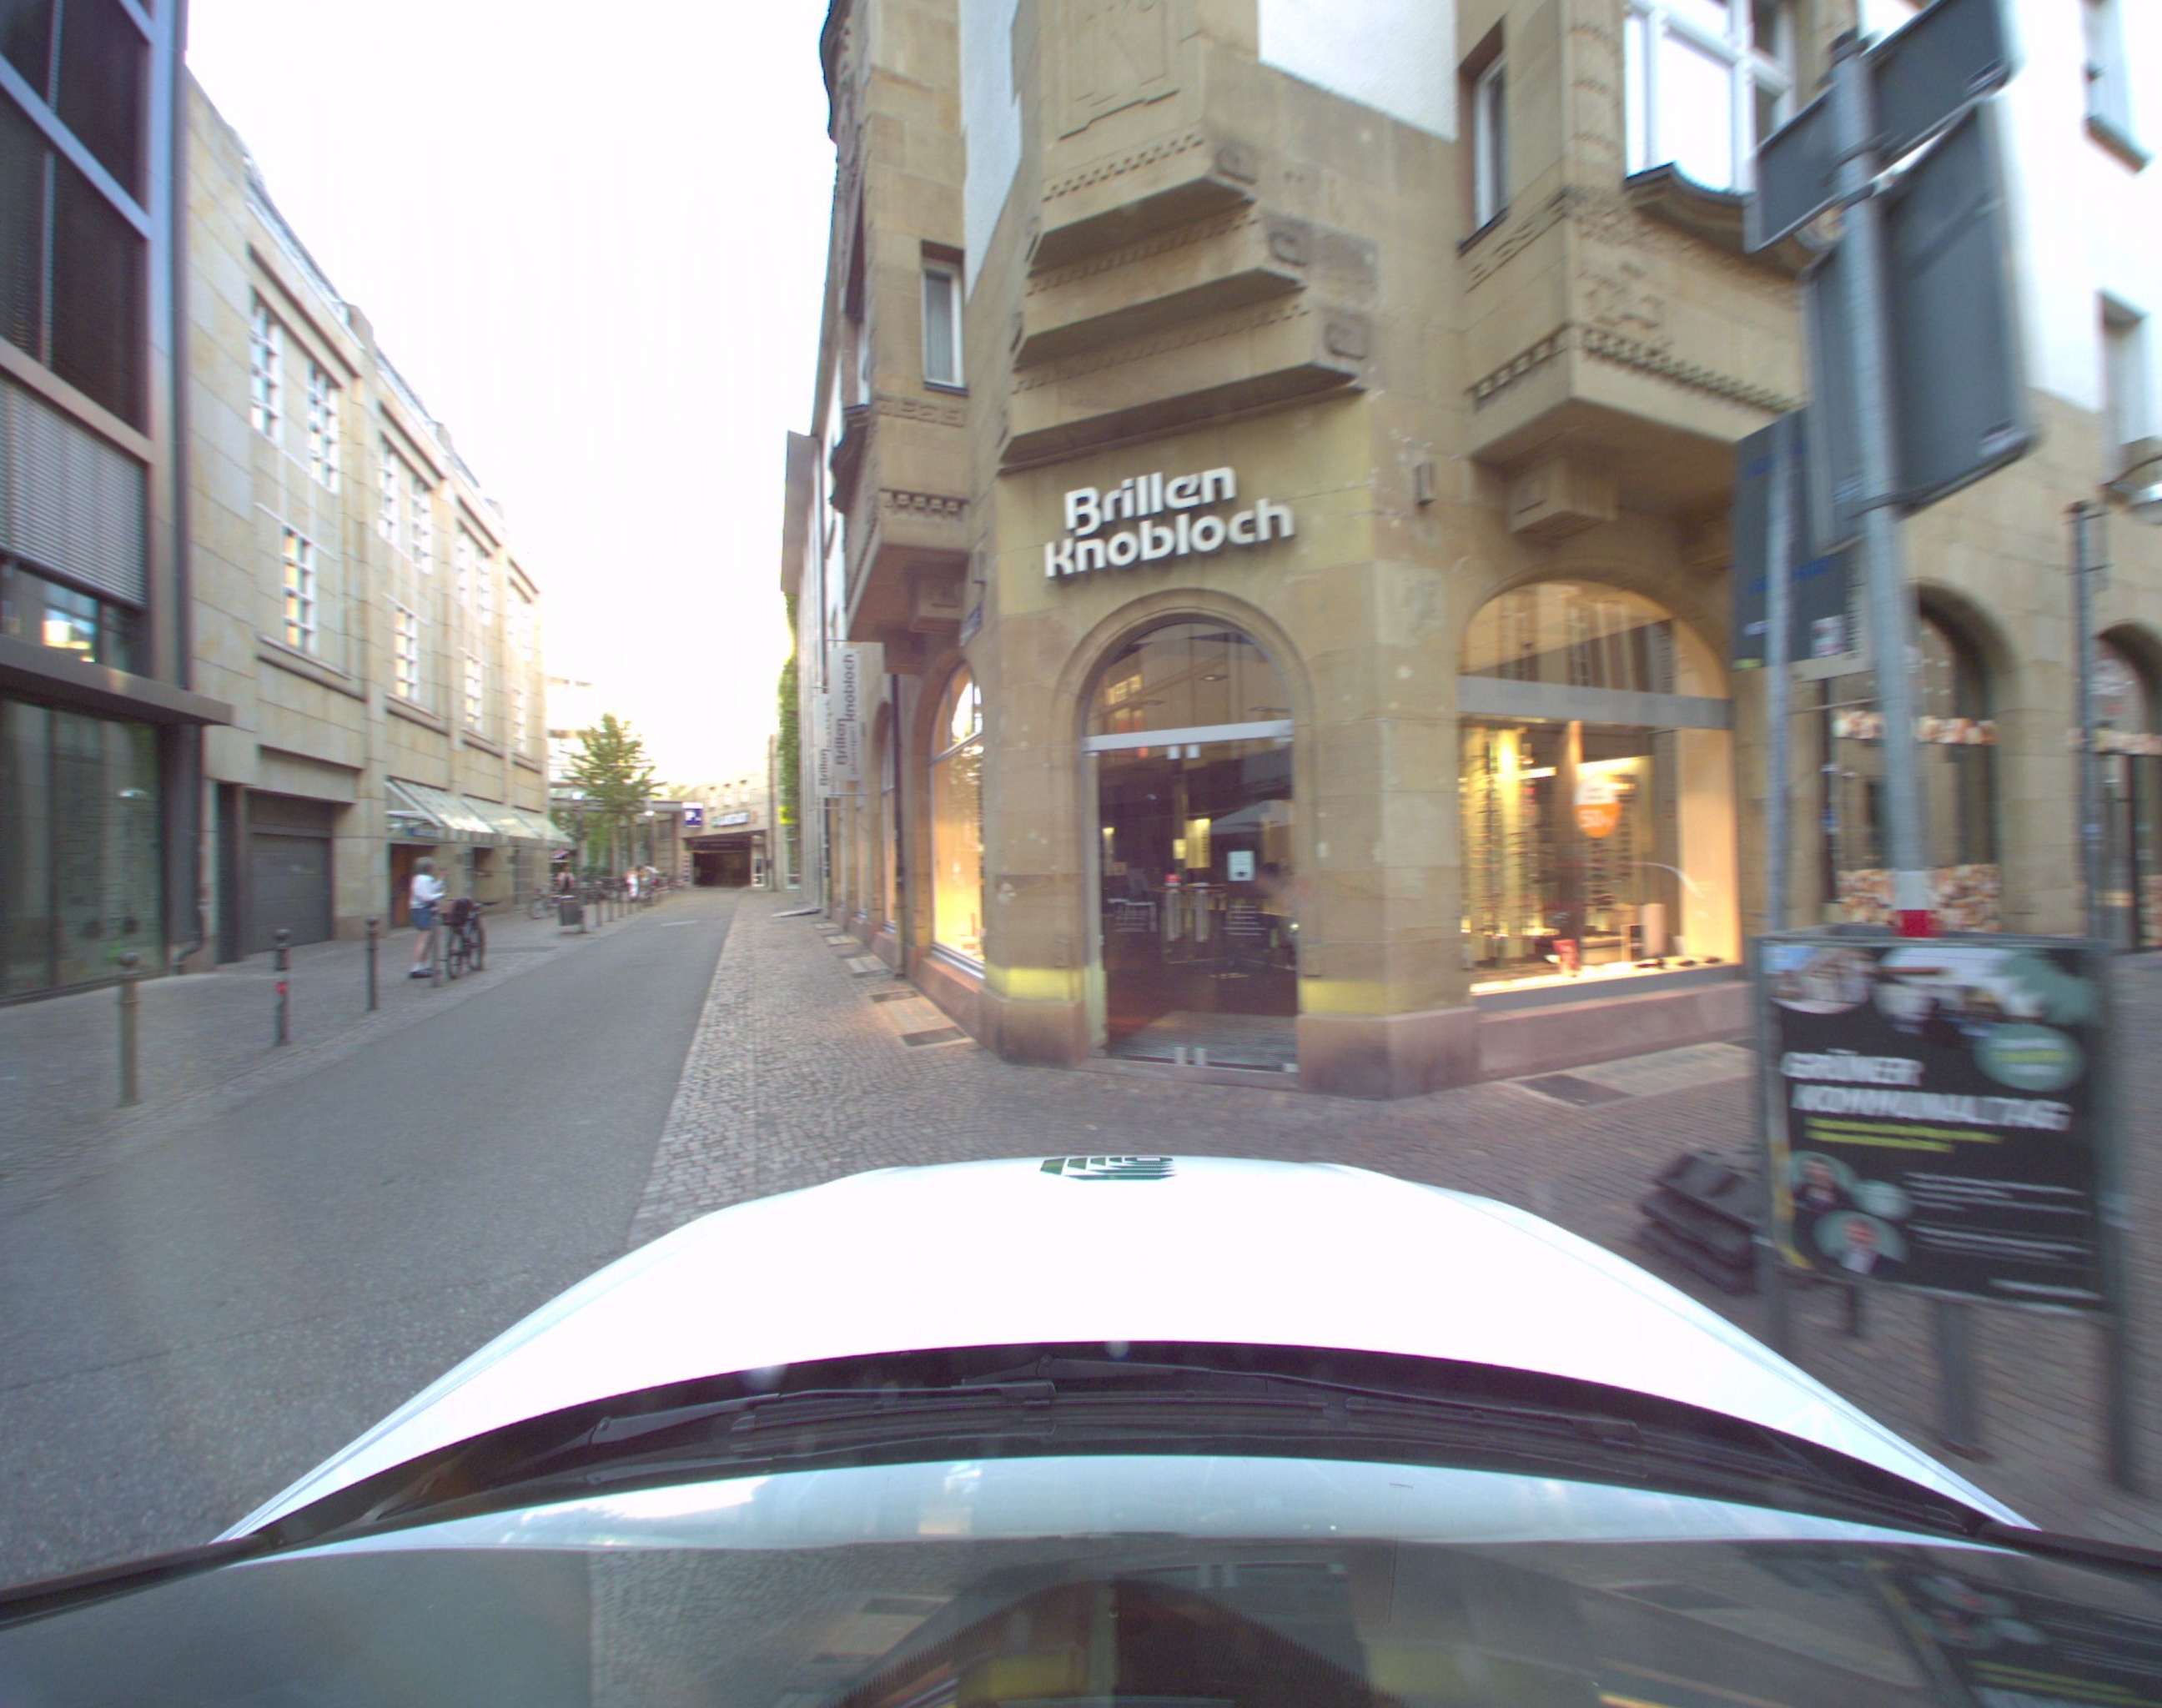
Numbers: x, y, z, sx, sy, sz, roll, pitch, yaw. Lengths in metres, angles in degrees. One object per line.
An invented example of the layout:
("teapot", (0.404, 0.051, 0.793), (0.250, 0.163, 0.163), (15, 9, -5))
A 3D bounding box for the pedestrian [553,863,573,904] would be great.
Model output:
("pedestrian", (-22.430, 1.275, 35.286), (0.661, 1.764, 0.610), (-1, 0, -36))

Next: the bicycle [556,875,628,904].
("bicycle", (-22.970, 1.657, 38.289), (2.781, 1.200, 0.725), (-2, 0, -41))

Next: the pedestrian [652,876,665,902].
("pedestrian", (-19.235, 1.606, 37.113), (0.468, 1.168, 0.518), (-1, -1, -21))

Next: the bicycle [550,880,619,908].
("bicycle", (-24.040, 1.903, 39.471), (2.781, 1.200, 0.725), (-2, 0, -41))

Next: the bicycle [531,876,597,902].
("bicycle", (-26.341, 1.764, 41.532), (2.781, 1.200, 0.725), (-2, 0, -41))

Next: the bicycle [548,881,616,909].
("bicycle", (-24.598, 2.017, 40.169), (2.781, 1.200, 0.725), (-2, 0, -41))

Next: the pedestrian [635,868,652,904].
("pedestrian", (-20.030, 1.463, 37.266), (0.587, 1.604, 0.623), (-1, -1, -21))

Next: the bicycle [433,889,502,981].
("bicycle", (-9.296, 1.181, 12.387), (0.413, 1.232, 1.812), (-1, 0, -24))

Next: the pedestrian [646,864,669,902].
("pedestrian", (-20.070, 1.377, 38.599), (0.867, 1.757, 0.793), (-1, -1, -21))

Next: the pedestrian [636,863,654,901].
("pedestrian", (-20.241, 1.284, 37.806), (0.632, 1.757, 0.793), (-1, -1, -21))

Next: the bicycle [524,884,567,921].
("bicycle", (-17.507, 1.554, 26.653), (0.481, 1.081, 2.230), (-2, 0, -15))

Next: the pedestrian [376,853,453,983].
("pedestrian", (-9.693, 0.895, 11.873), (0.611, 1.791, 0.903), (-2, 0, -23))

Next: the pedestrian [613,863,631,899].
("pedestrian", (-20.958, 1.238, 37.210), (0.592, 1.604, 0.661), (-1, -1, -21))
